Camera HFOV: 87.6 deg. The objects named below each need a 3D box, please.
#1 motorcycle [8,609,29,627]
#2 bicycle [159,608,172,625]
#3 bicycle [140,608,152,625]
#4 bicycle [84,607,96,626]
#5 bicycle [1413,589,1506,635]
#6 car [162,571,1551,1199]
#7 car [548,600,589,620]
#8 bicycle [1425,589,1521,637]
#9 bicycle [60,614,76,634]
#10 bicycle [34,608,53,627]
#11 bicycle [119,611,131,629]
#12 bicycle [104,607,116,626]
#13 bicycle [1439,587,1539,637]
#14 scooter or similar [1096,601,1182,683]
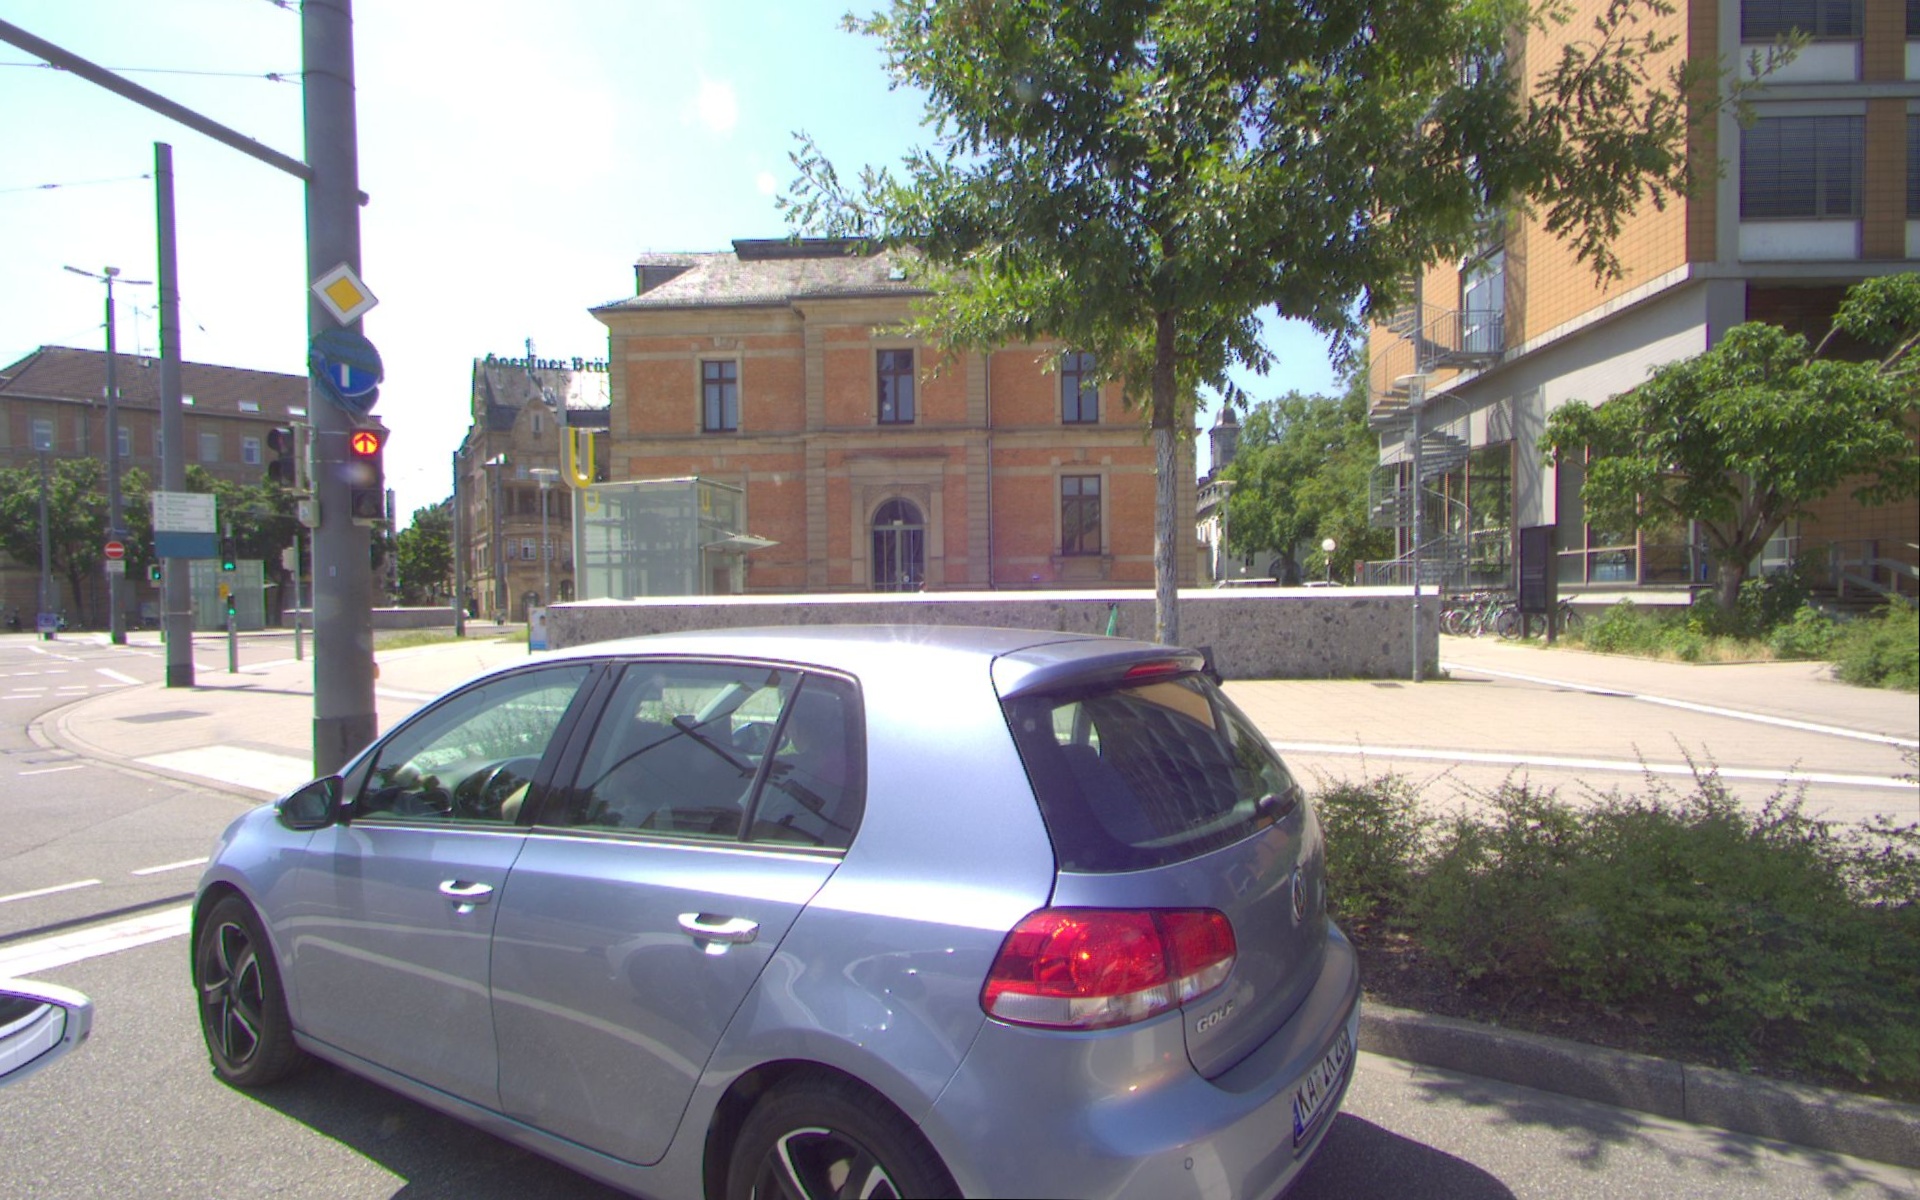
[{"bbox_3d":[-56.255,1.060,59.830,1.920,1.089,0.578,0,1,36],"label":"motorcycle"},{"bbox_3d":[-52.178,1.072,65.751,0.547,1.135,1.912,-1,1,-41],"label":"bicycle"},{"bbox_3d":[-52.612,1.058,64.730,0.547,1.135,1.854,-1,1,-41],"label":"bicycle"},{"bbox_3d":[-54.118,1.031,62.316,0.547,1.135,1.804,-1,1,-41],"label":"bicycle"},{"bbox_3d":[13.563,0.332,27.233,2.175,1.234,0.637,0,-1,5],"label":"bicycle"},{"bbox_3d":[-0.549,0.739,2.976,3.946,1.478,1.648,0,-1,32],"label":"car"},{"bbox_3d":[-33.092,0.848,84.721,1.662,1.626,3.651,0,0,8],"label":"car"},{"bbox_3d":[13.587,0.355,26.580,2.175,1.234,0.637,0,-1,5],"label":"bicycle"},{"bbox_3d":[-54.976,1.488,61.696,2.069,1.160,0.440,-2,-2,39],"label":"bicycle"},{"bbox_3d":[-55.569,1.030,60.730,1.797,1.135,0.549,0,1,38],"label":"bicycle"},{"bbox_3d":[-52.936,1.267,63.478,0.547,1.135,1.872,-1,1,-41],"label":"bicycle"},{"bbox_3d":[-53.438,1.041,62.932,0.547,1.135,1.804,-1,1,-41],"label":"bicycle"},{"bbox_3d":[13.502,0.319,25.597,2.175,1.234,0.637,0,-1,5],"label":"bicycle"},{"bbox_3d":[2.642,0.613,14.759,1.227,1.186,0.458,0,1,13],"label":"scooter or similar"}]
